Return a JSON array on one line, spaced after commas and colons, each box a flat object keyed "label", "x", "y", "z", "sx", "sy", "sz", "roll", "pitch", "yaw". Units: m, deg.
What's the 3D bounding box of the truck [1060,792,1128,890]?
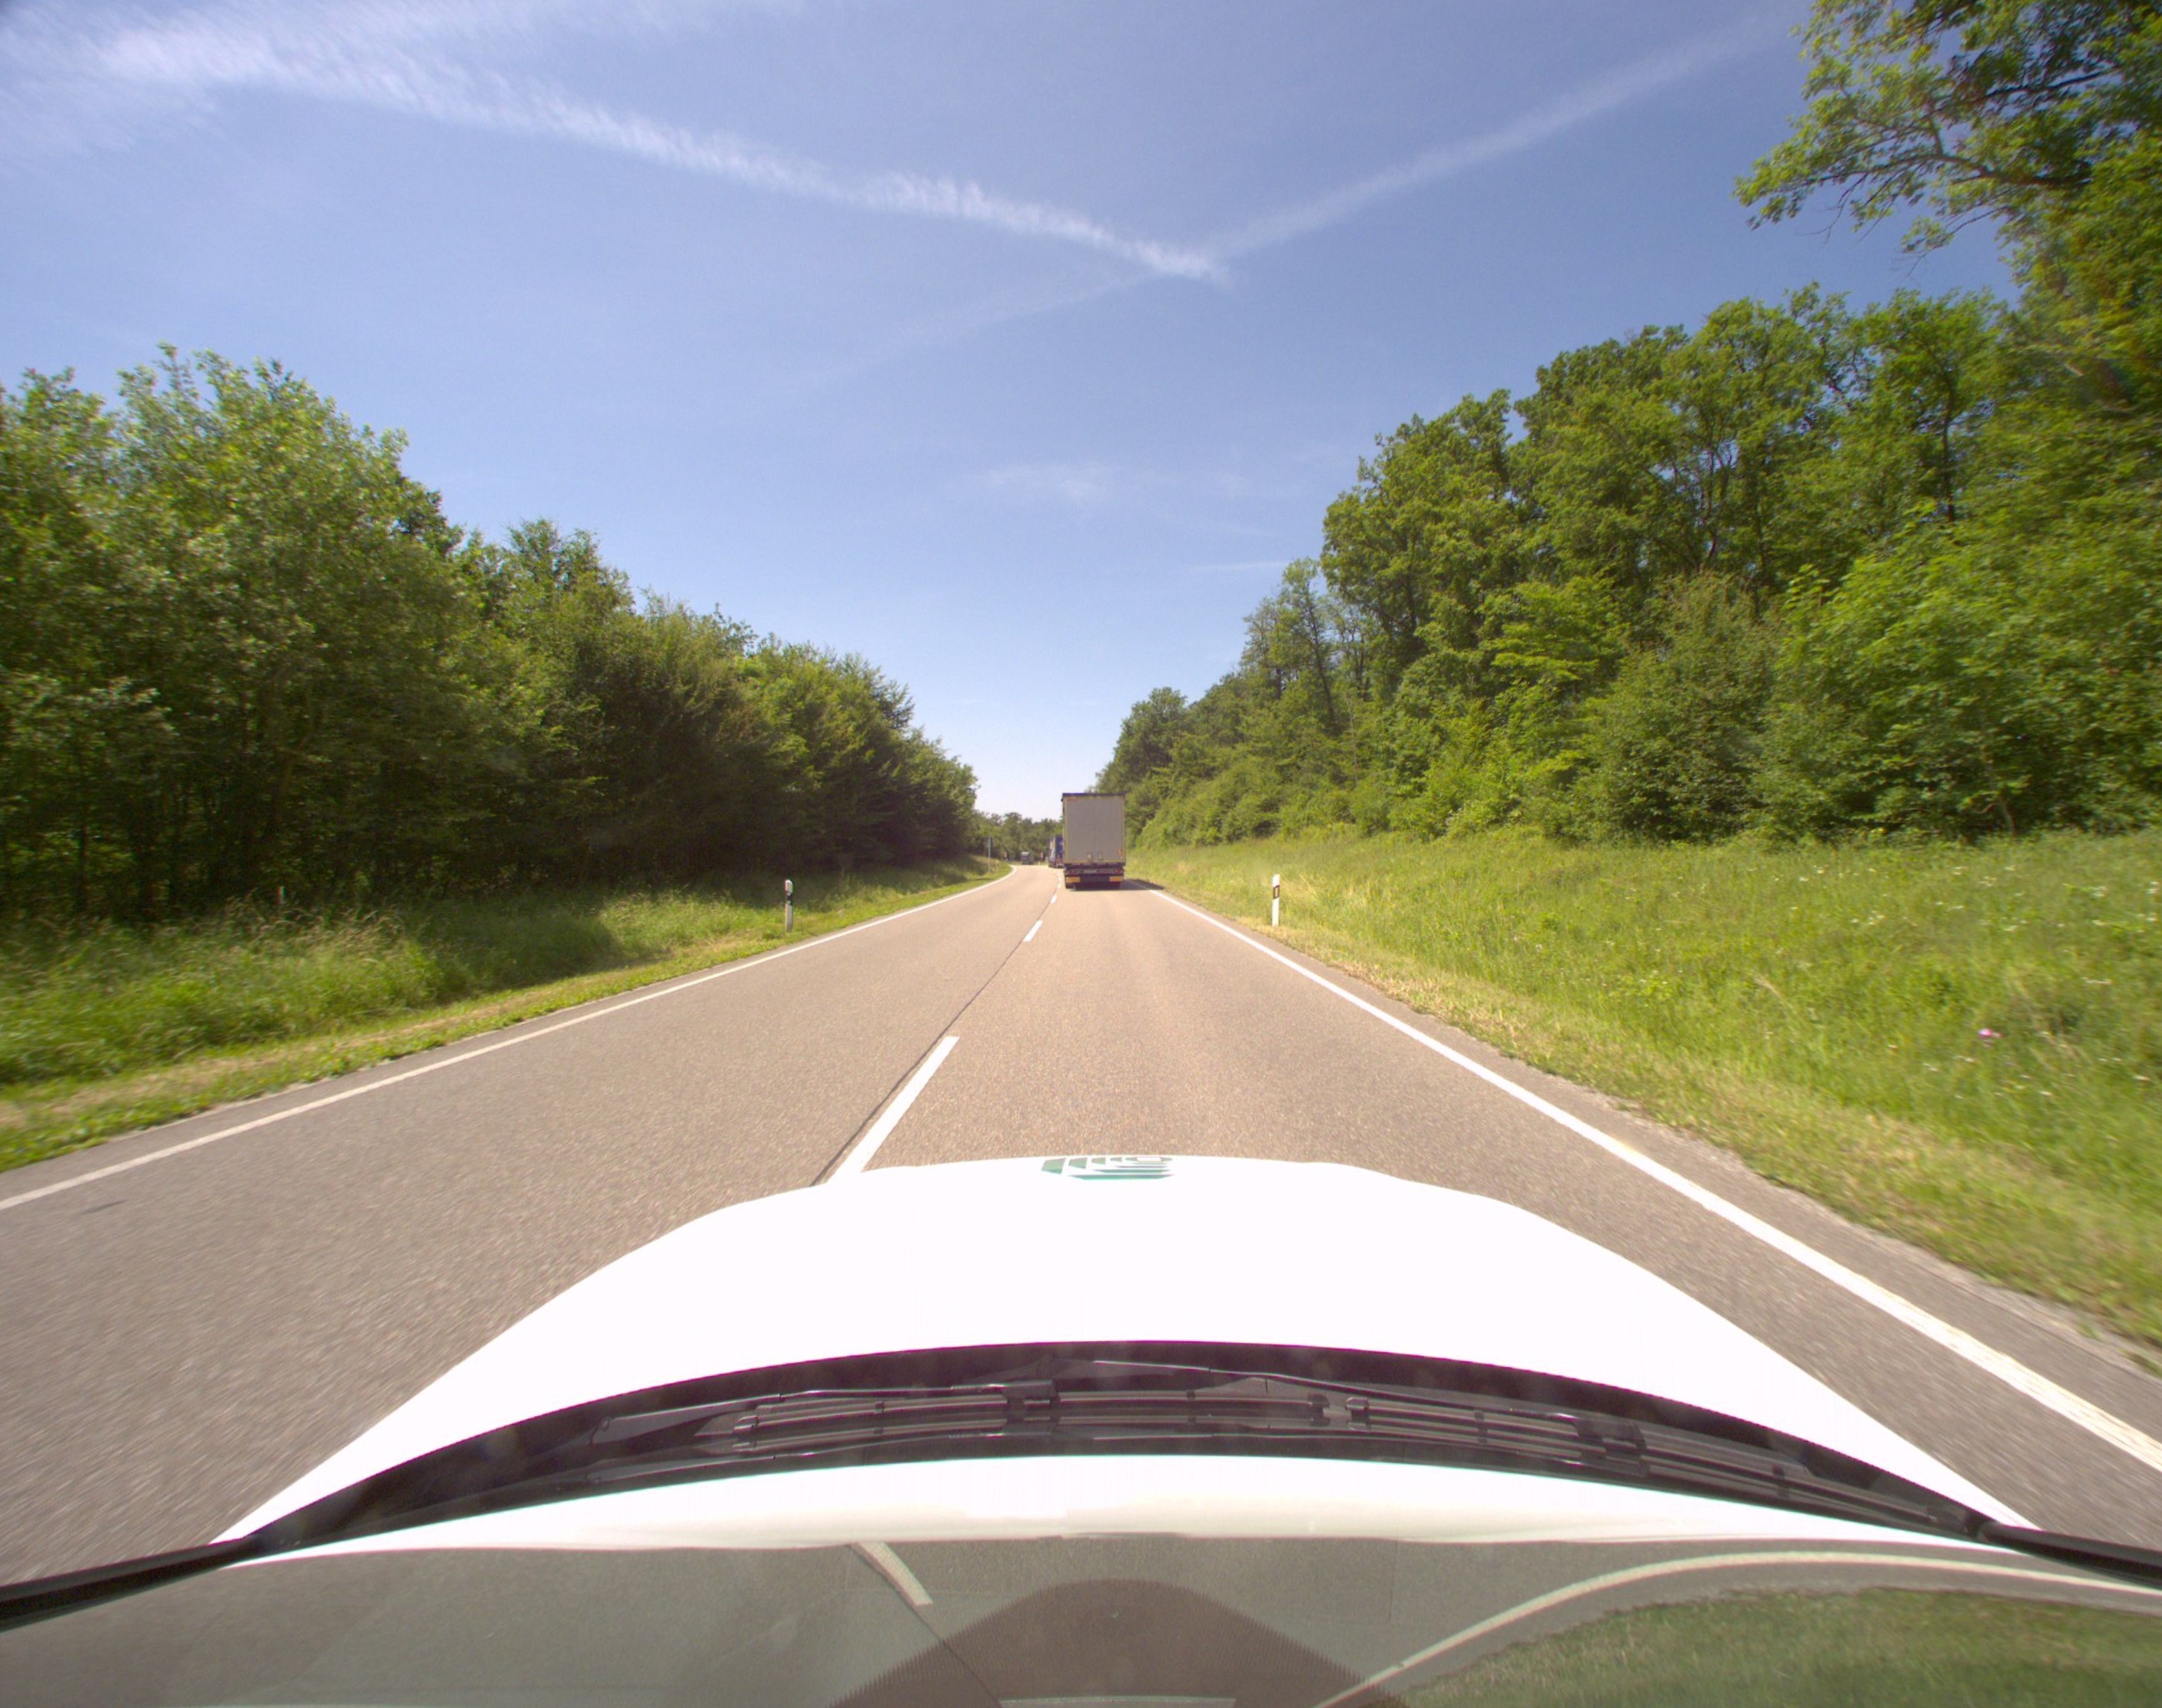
[{"label": "truck", "x": 0.463, "y": -0.515, "z": 39.101, "sx": 2.753, "sy": 3.947, "sz": 12.193, "roll": 0, "pitch": 0, "yaw": -1}]

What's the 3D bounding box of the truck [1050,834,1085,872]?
[{"label": "truck", "x": -1.837, "y": -0.161, "z": 101.860, "sx": 3.785, "sy": 4.373, "sz": 14.901, "roll": 1, "pitch": 0, "yaw": -3}]
